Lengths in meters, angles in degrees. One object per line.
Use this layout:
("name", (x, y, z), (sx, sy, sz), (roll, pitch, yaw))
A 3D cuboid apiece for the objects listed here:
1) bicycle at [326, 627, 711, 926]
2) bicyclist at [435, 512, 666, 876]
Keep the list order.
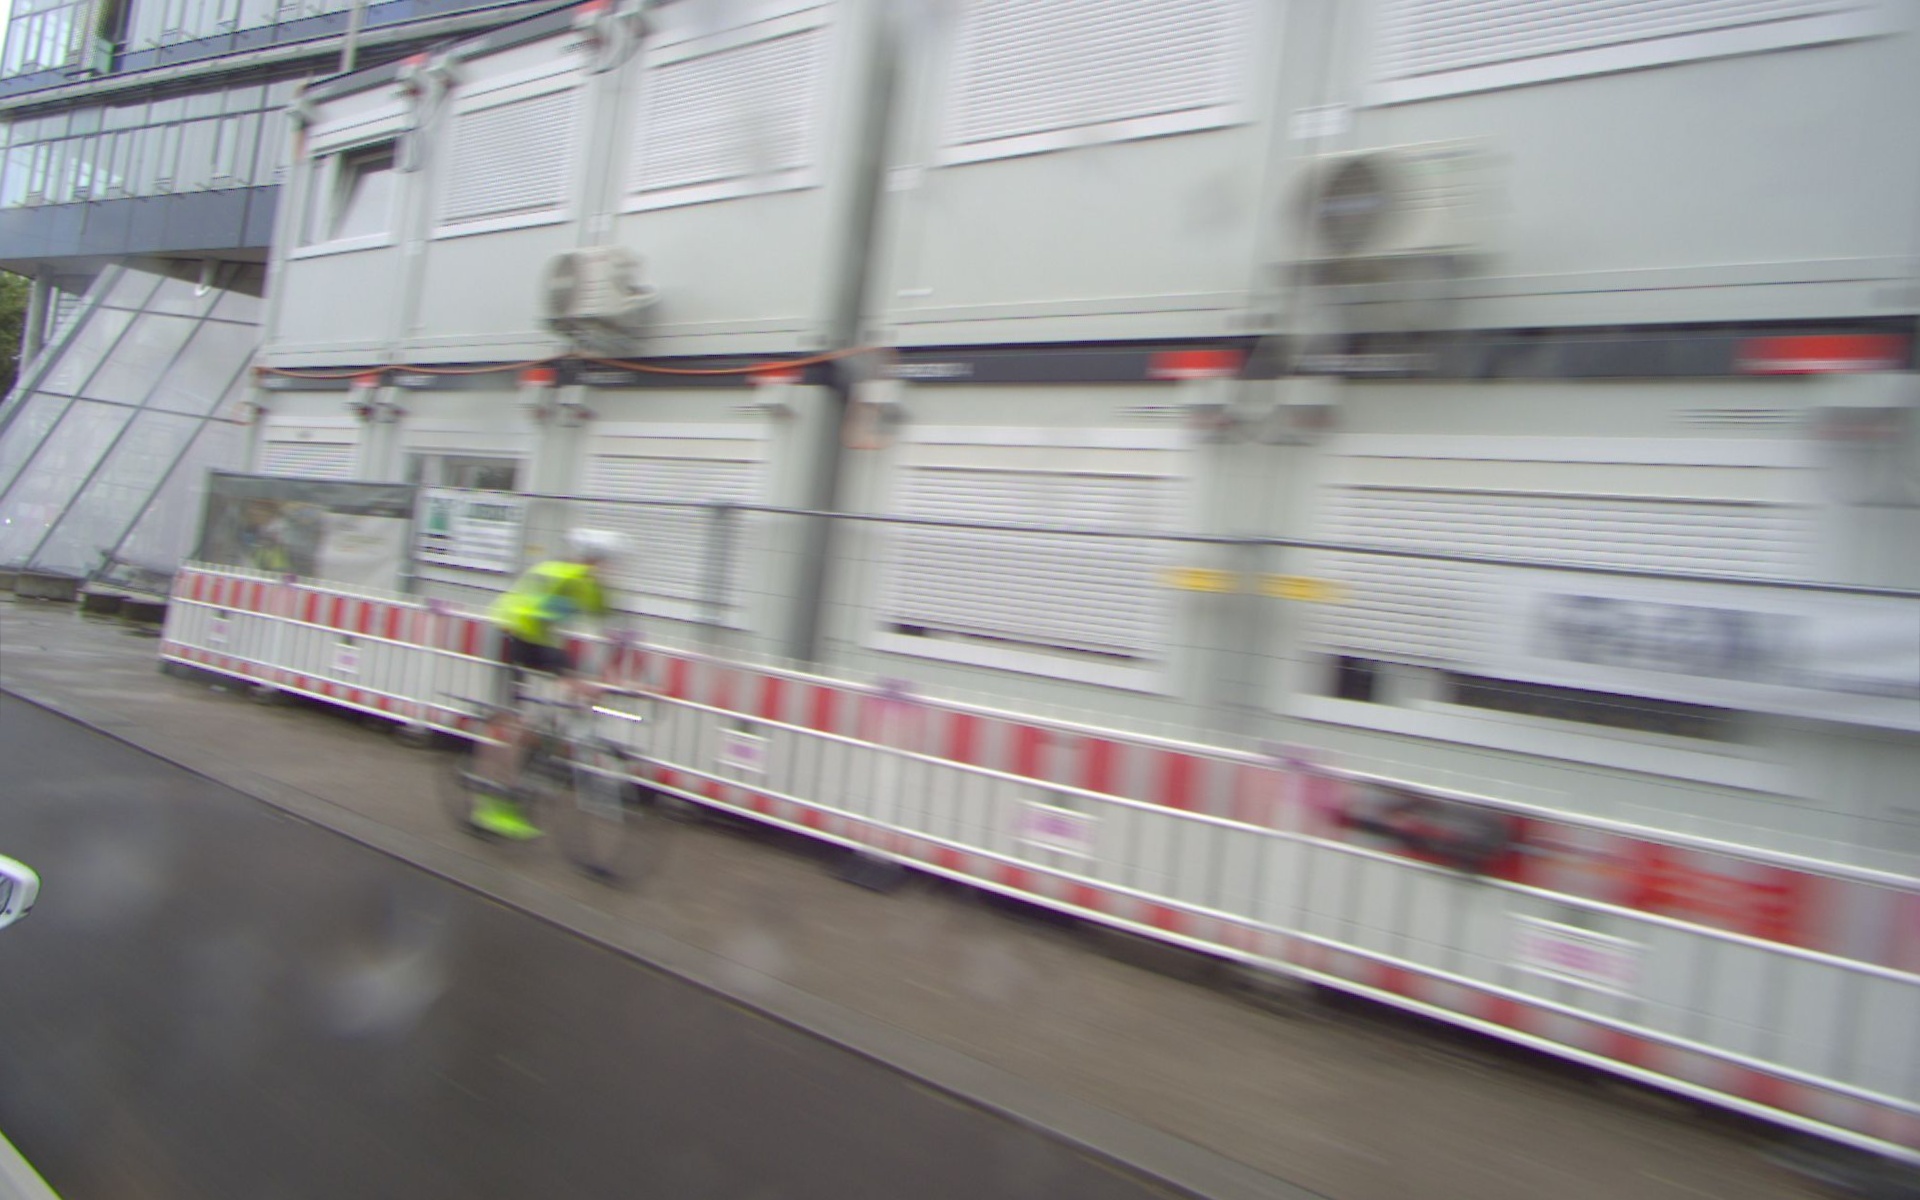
("bicycle", (-2.304, 0.802, 5.147), (2.022, 1.065, 0.663), (7, 0, 31))
("bicyclist", (-2.085, 0.433, 5.133), (0.780, 1.661, 0.662), (6, 2, 32))
